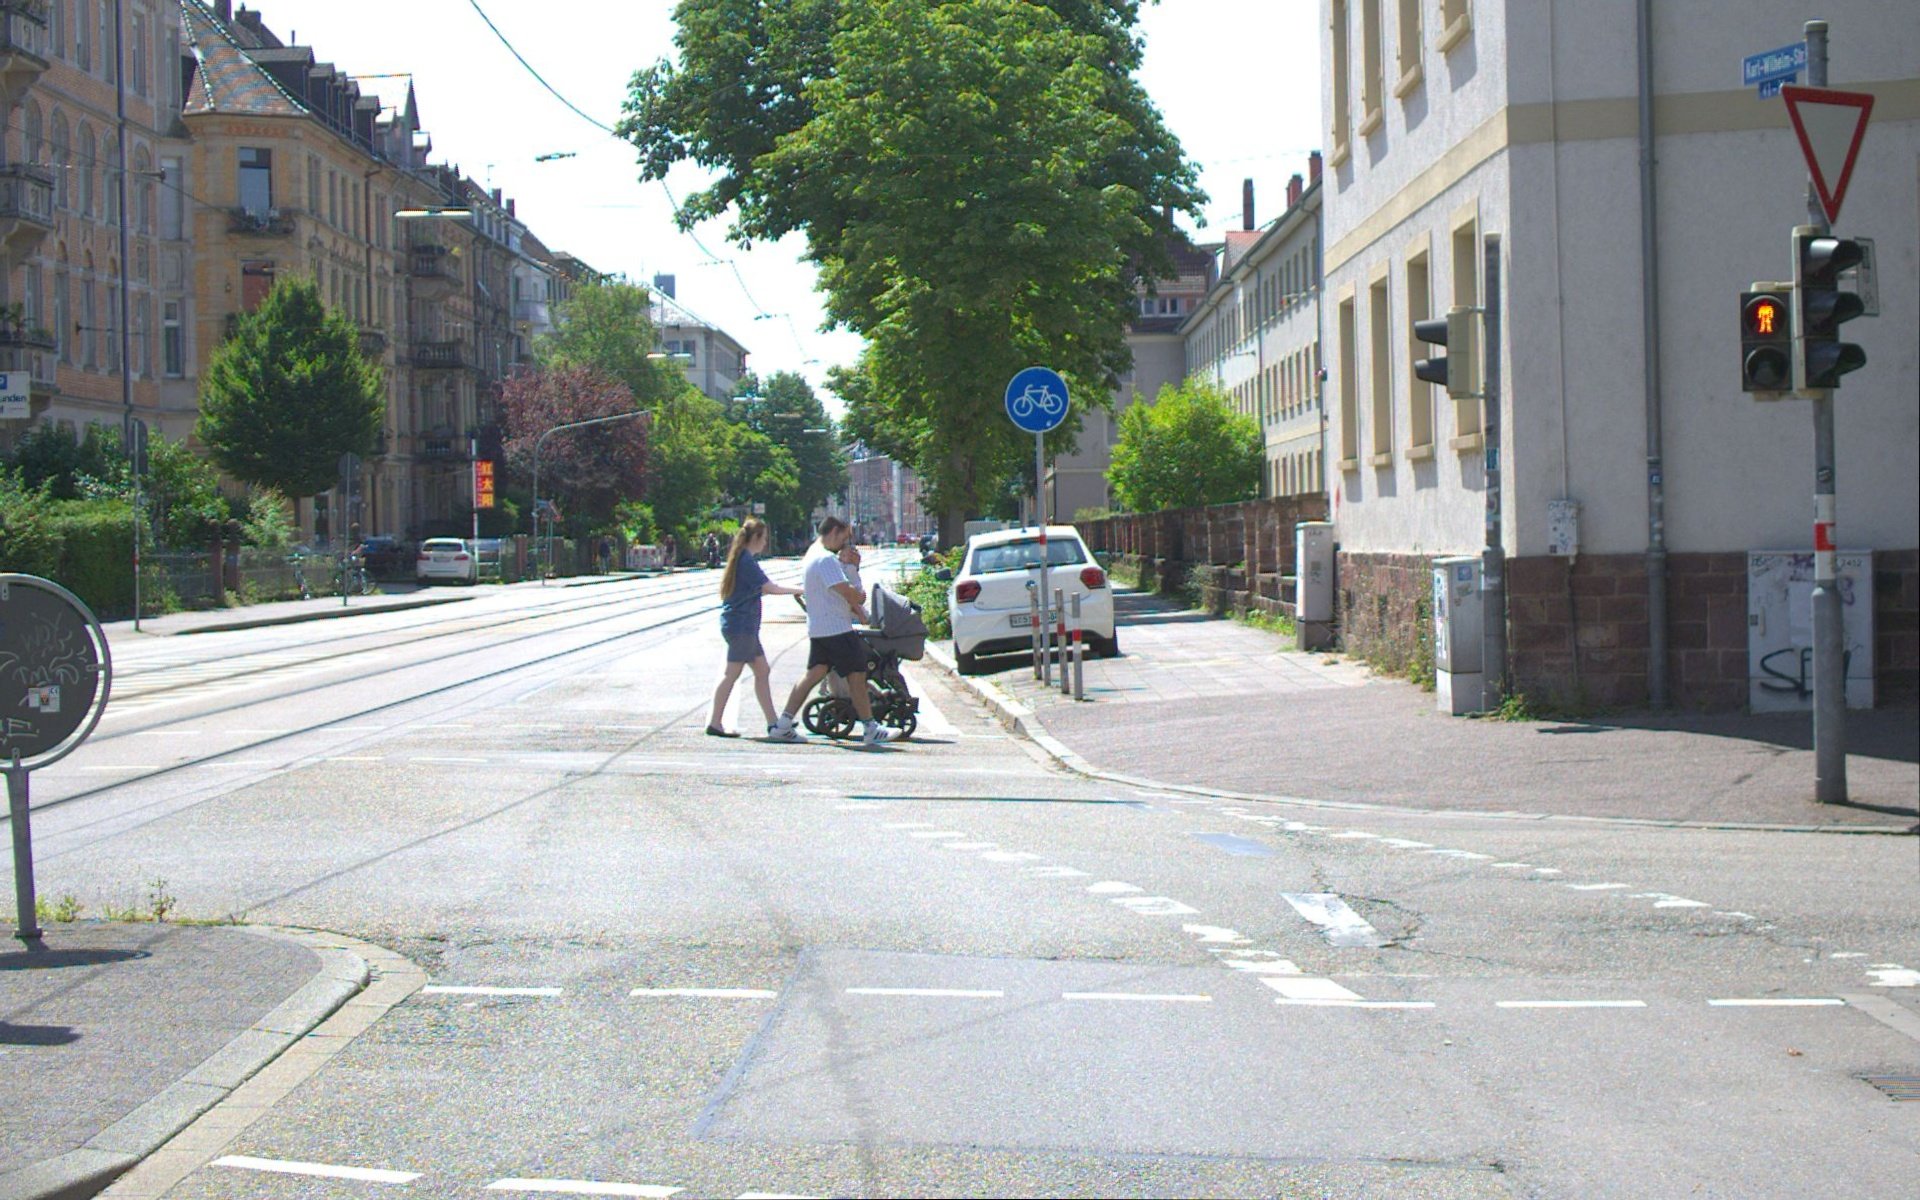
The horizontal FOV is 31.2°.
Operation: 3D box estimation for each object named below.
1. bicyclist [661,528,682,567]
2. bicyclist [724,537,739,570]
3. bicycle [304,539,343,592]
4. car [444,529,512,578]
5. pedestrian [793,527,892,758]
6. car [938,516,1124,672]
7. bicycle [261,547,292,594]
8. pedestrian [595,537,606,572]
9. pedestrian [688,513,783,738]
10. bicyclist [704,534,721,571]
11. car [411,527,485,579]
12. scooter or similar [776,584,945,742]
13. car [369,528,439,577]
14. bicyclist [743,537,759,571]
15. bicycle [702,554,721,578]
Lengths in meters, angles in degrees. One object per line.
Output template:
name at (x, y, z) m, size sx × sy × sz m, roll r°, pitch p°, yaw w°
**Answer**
bicyclist at (-12.180, -2.199, 145.077) m, size 0.727 × 1.623 × 1.079 m, roll 1°, pitch 0°, yaw 1°
bicyclist at (-12.420, -2.532, 187.030) m, size 0.727 × 1.812 × 1.079 m, roll 1°, pitch 0°, yaw 1°
bicycle at (-15.665, -0.848, 84.680) m, size 0.677 × 1.274 × 1.919 m, roll -1°, pitch 1°, yaw -3°
car at (-17.337, -1.659, 123.840) m, size 1.919 × 1.709 × 4.000 m, roll 1°, pitch 1°, yaw -1°
pedestrian at (-0.851, 0.299, 24.827) m, size 0.675 × 1.640 × 0.558 m, roll 1°, pitch 0°, yaw -4°
car at (0.718, -0.086, 37.337) m, size 1.815 × 1.511 × 4.000 m, roll -3°, pitch 1°, yaw -1°
bicycle at (-15.908, -0.699, 80.037) m, size 0.677 × 1.061 × 1.919 m, roll -1°, pitch 1°, yaw -11°
pedestrian at (-15.028, -1.906, 143.801) m, size 0.406 × 1.456 × 0.436 m, roll -1°, pitch 1°, yaw -1°
pedestrian at (-1.664, 0.185, 25.535) m, size 0.675 × 1.640 × 0.558 m, roll 1°, pitch 0°, yaw -4°
bicyclist at (-12.042, -2.313, 167.255) m, size 0.727 × 1.762 × 1.079 m, roll 1°, pitch 0°, yaw 1°
car at (-17.193, -1.574, 115.576) m, size 1.919 × 1.709 × 4.000 m, roll 1°, pitch 1°, yaw -1°
scooter or similar at (-0.749, 0.469, 25.729) m, size 1.201 × 1.151 × 0.558 m, roll 1°, pitch 0°, yaw -7°
car at (-20.024, -1.697, 123.914) m, size 1.919 × 1.709 × 4.000 m, roll 1°, pitch 1°, yaw -1°
bicyclist at (-11.354, -2.512, 186.829) m, size 0.727 × 1.812 × 1.079 m, roll 1°, pitch 0°, yaw 1°
bicycle at (-12.066, -1.649, 167.212) m, size 0.727 × 1.119 × 2.085 m, roll 1°, pitch 1°, yaw 1°
